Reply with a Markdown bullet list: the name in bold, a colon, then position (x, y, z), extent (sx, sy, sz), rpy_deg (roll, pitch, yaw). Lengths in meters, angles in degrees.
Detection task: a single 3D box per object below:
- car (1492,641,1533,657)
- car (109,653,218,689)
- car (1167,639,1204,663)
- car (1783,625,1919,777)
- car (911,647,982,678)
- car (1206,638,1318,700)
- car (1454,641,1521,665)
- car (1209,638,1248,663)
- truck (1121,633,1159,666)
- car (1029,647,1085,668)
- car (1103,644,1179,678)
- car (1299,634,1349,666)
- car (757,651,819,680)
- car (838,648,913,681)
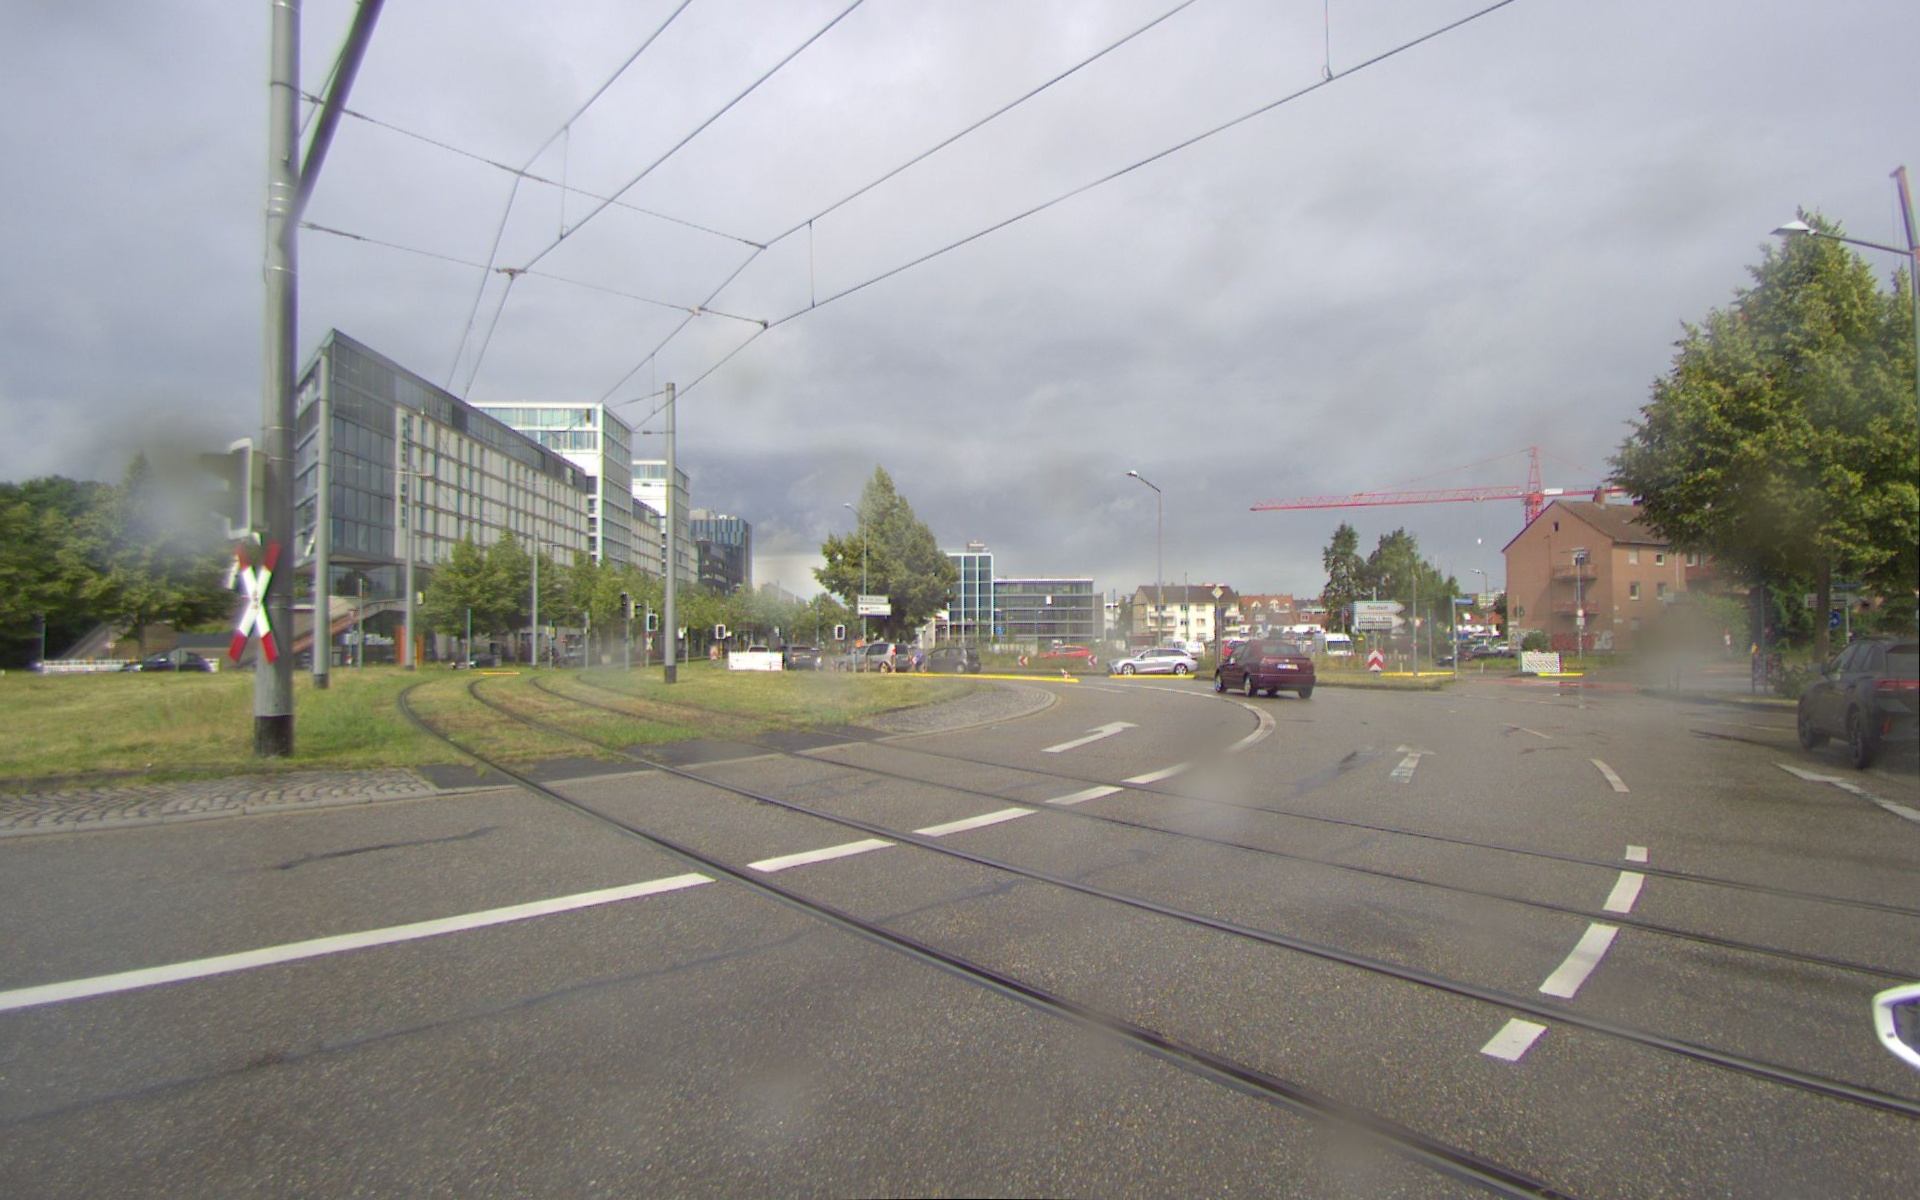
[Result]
- **car**: position (54.173, 4.805, 98.517), extent (3.460, 1.539, 1.613), rpy_deg (-2, -3, 32)
- **car**: position (-39.353, 3.465, 49.712), extent (1.834, 1.694, 3.814), rpy_deg (-1, -3, 31)
- **car**: position (17.798, 4.017, 79.299), extent (1.822, 1.723, 3.998), rpy_deg (0, 0, -4)
- **car**: position (11.765, 1.153, 12.392), extent (1.870, 1.638, 3.992), rpy_deg (-2, -3, 31)
- **car**: position (-0.720, 3.261, 52.968), extent (3.439, 1.581, 1.546), rpy_deg (-2, -2, 32)
- **car**: position (7.974, 1.811, 26.897), extent (1.686, 1.481, 4.001), rpy_deg (-1, -3, -1)
- **car**: position (38.197, 3.849, 72.837), extent (3.976, 1.654, 1.618), rpy_deg (-1, -2, 9)
- **car**: position (20.400, 3.804, 76.480), extent (1.892, 1.723, 4.000), rpy_deg (0, 0, 1)
- **truck**: position (13.710, 3.736, 76.738), extent (2.349, 2.241, 6.104), rpy_deg (0, 0, 5)
- **car**: position (7.582, 4.490, 78.631), extent (4.112, 1.531, 1.857), rpy_deg (0, 0, -4)
- **car**: position (9.033, 3.027, 50.249), extent (3.481, 1.581, 1.600), rpy_deg (-1, -2, -3)
- **car**: position (26.688, 3.648, 73.950), extent (2.002, 2.113, 6.269), rpy_deg (0, 0, 6)
- **car**: position (-9.716, 3.676, 56.734), extent (3.626, 1.581, 1.565), rpy_deg (-3, -3, 42)
- **car**: position (-4.255, 3.244, 50.698), extent (3.433, 1.581, 1.549), rpy_deg (-1, -2, 24)
